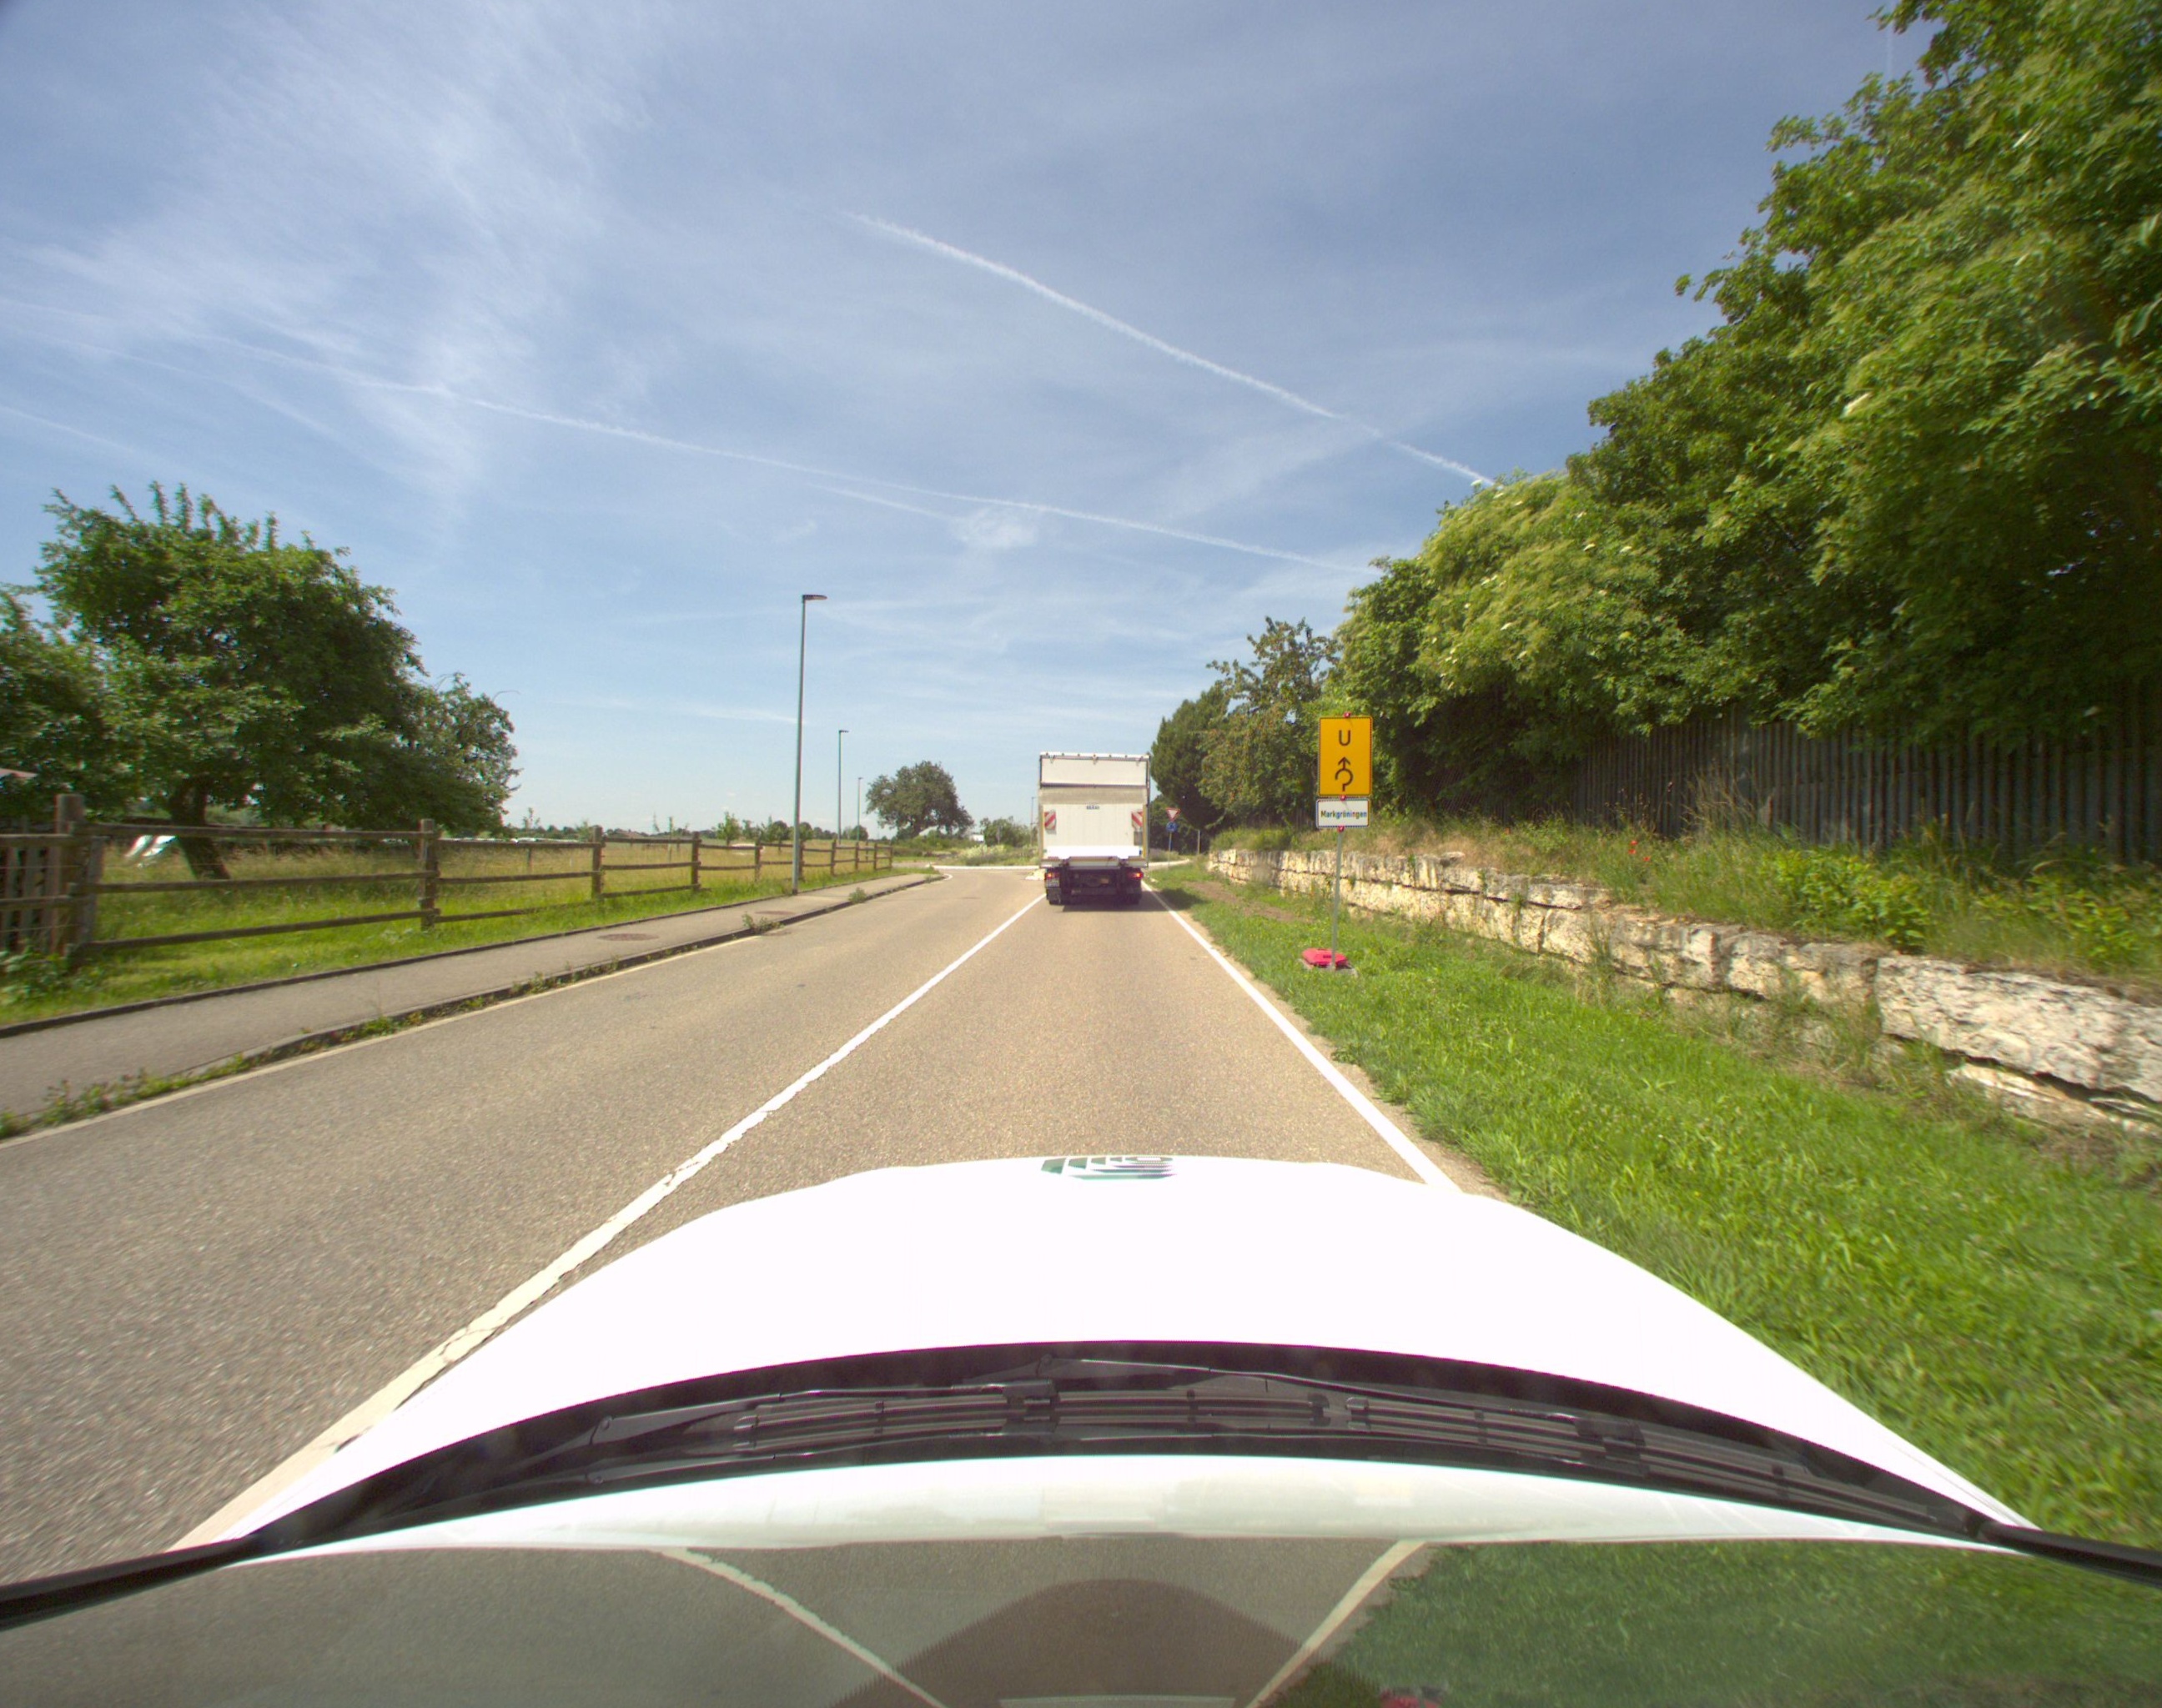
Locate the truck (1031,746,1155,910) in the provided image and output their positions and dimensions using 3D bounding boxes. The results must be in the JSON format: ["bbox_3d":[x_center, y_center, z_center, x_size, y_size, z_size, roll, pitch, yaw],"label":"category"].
[{"bbox_3d":[0.315,-0.637,23.061,2.757,3.670,9.383,-1,1,0],"label":"truck"}]
